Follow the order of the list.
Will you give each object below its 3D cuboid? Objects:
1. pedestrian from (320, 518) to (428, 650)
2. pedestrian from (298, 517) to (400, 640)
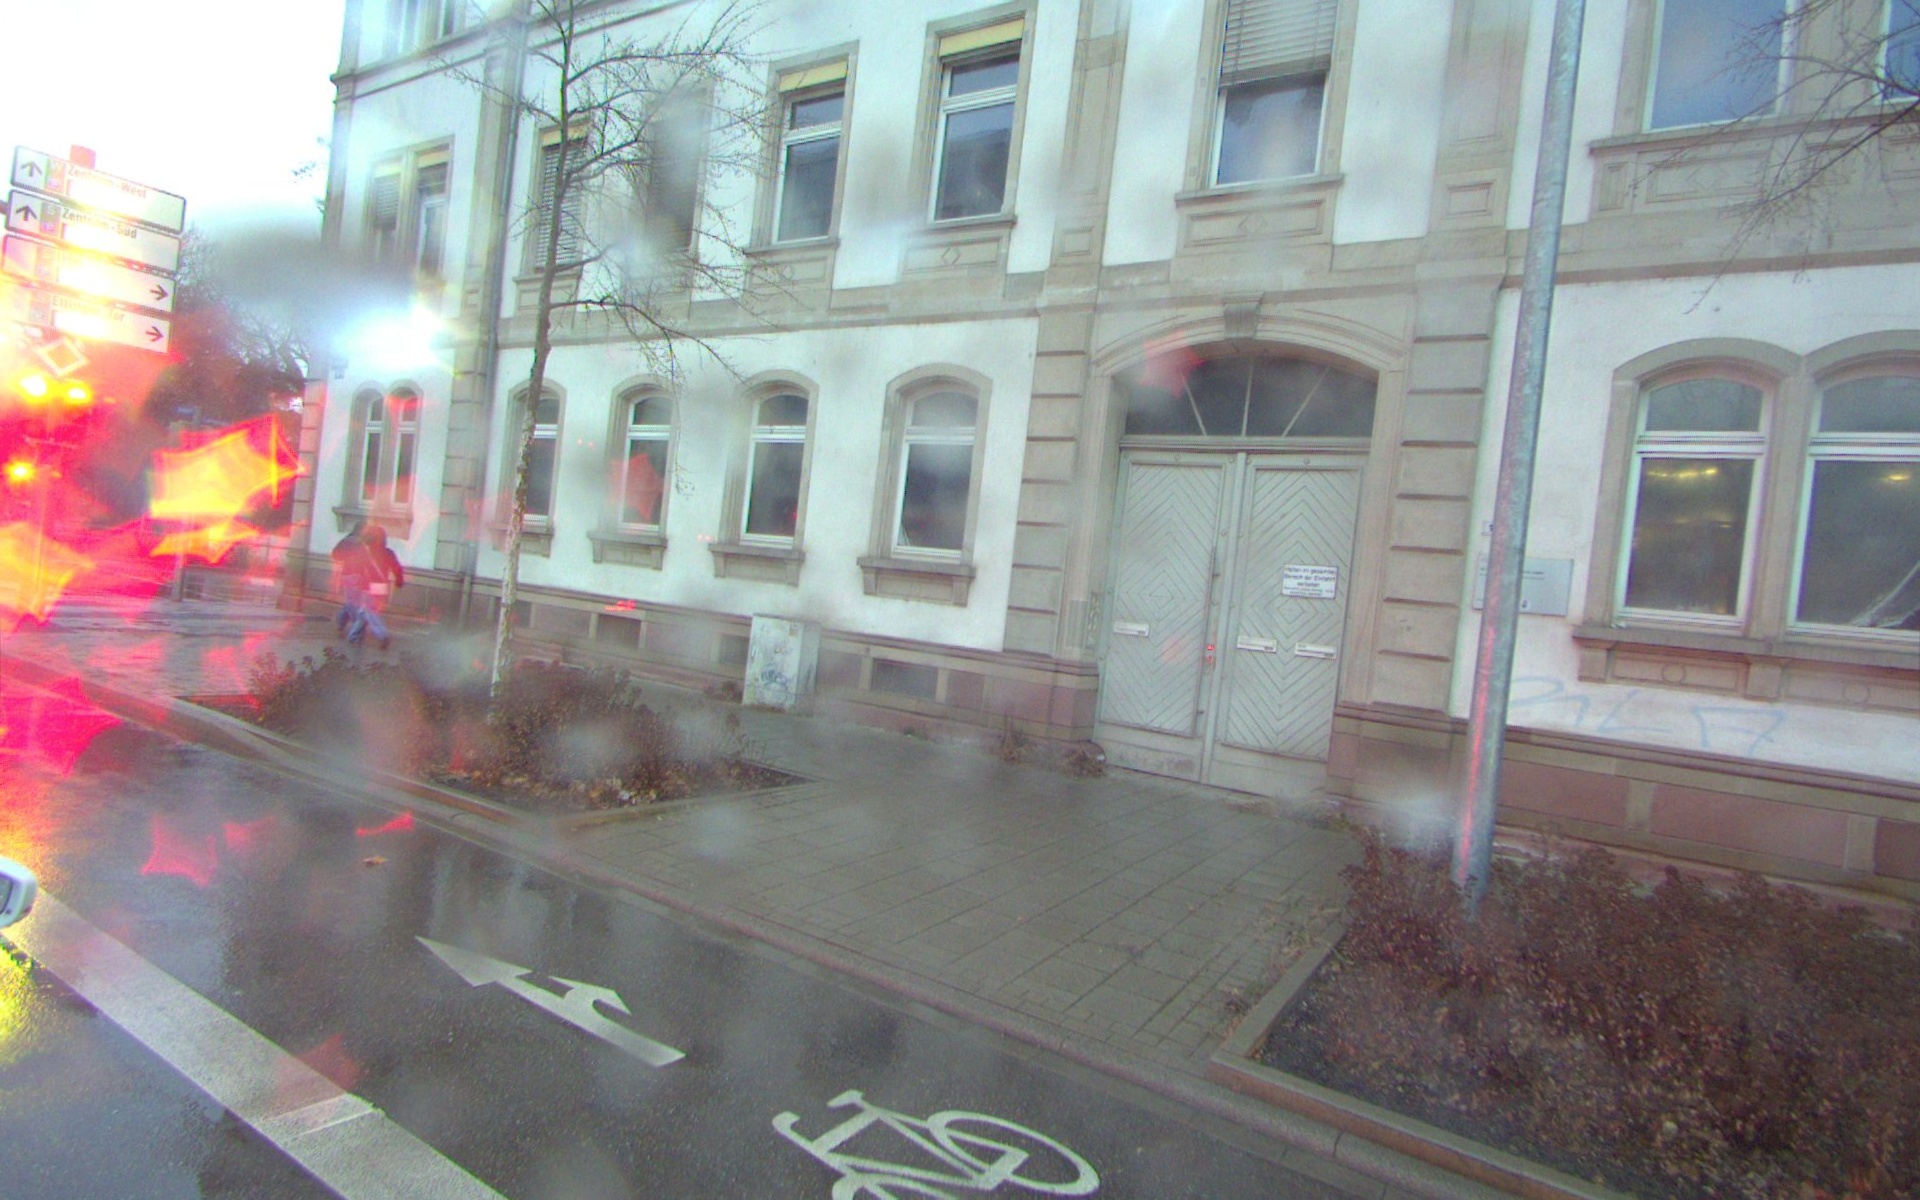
[{"bbox_3d":[-7.763,-0.212,13.330,0.997,1.597,0.781,6,-1,40],"label":"pedestrian"},{"bbox_3d":[-8.967,-0.317,14.777,0.995,1.651,0.782,6,-1,35],"label":"pedestrian"}]
